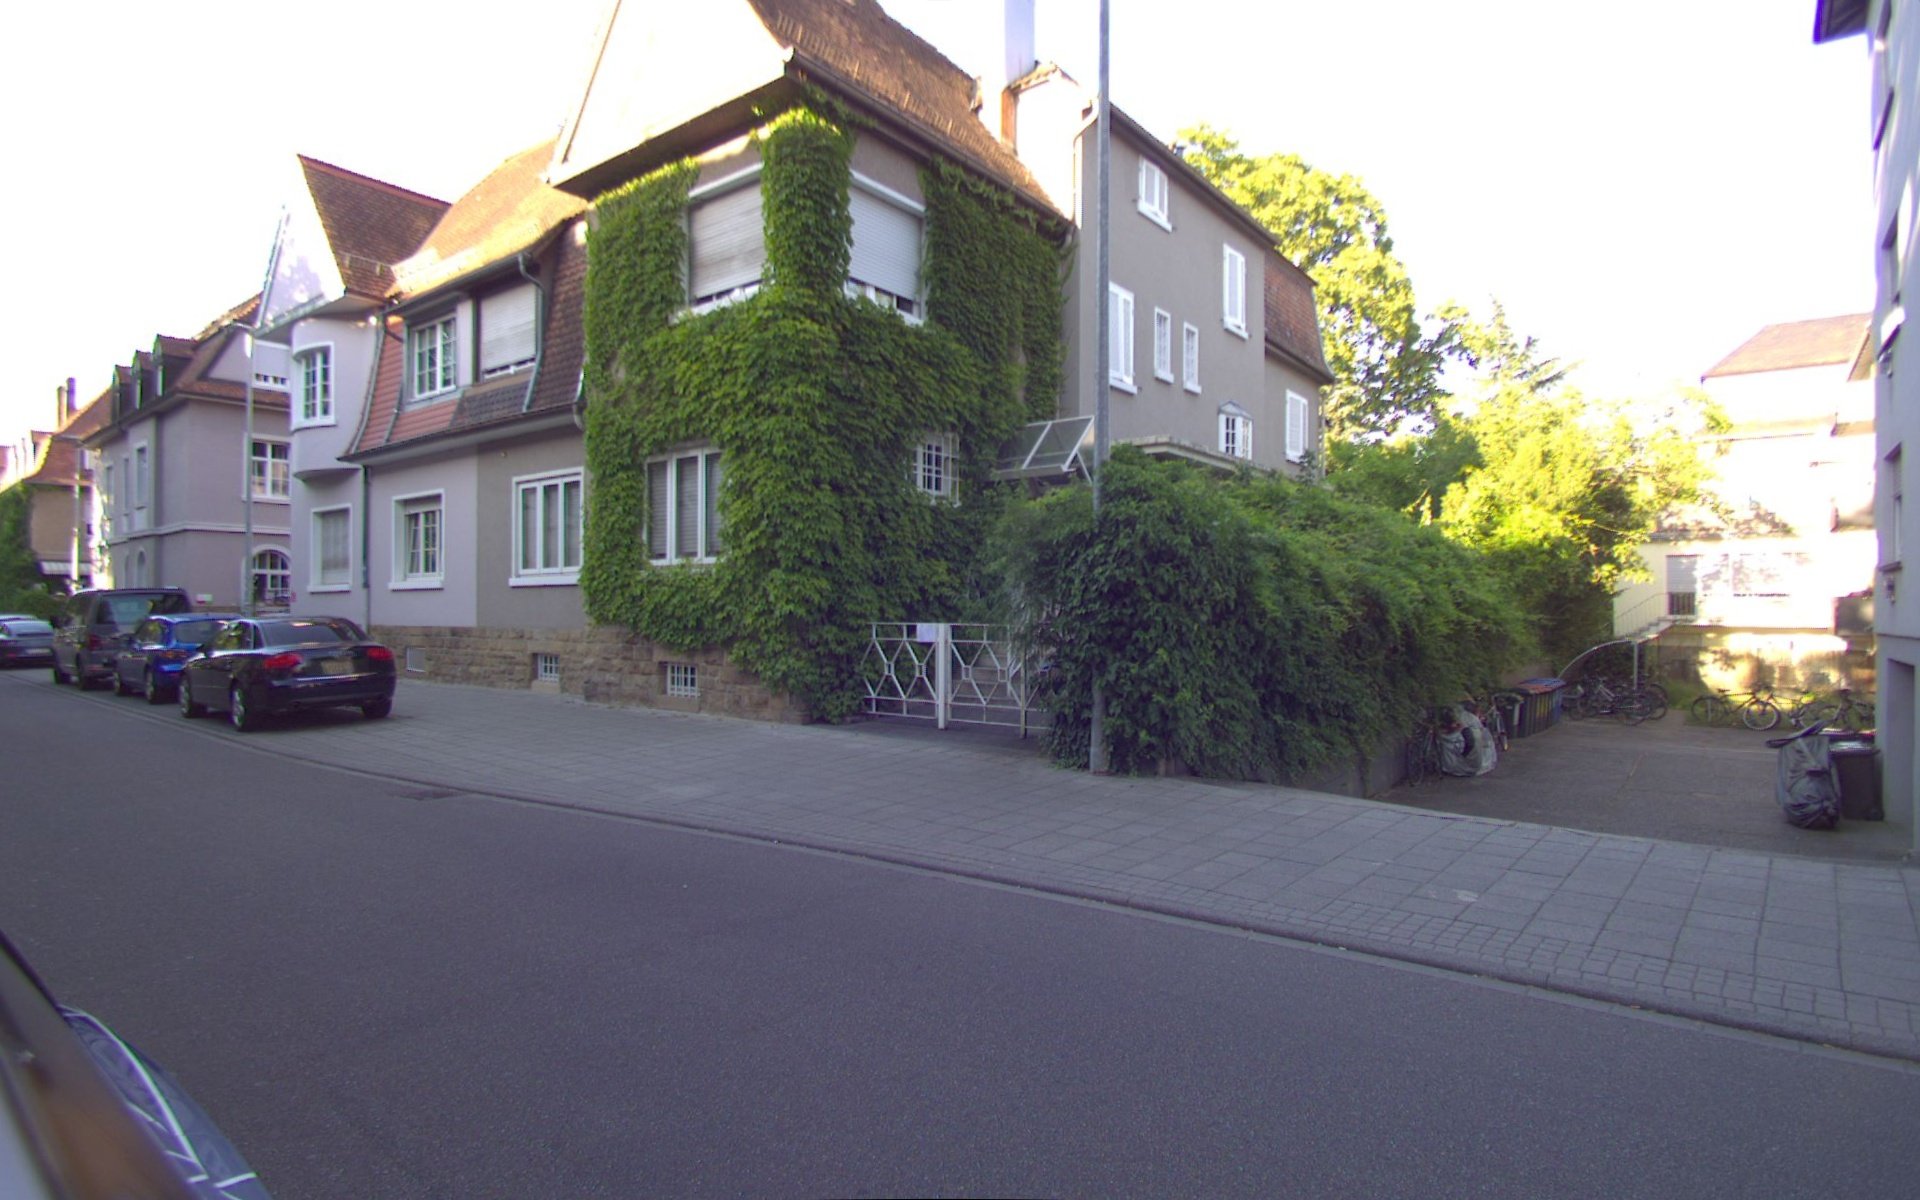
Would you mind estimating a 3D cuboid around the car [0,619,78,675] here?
[{"bbox_3d":[-26.160,1.261,28.300,4.063,1.394,1.906,-1,1,44],"label":"car"}]

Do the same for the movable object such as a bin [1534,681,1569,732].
[{"bbox_3d":[13.648,2.436,23.353,0.611,1.123,0.792,-1,-4,37],"label":"movable object such as a bin"}]

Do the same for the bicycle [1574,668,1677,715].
[{"bbox_3d":[18.615,2.537,28.340,2.338,1.186,0.685,-1,-4,42],"label":"bicycle"}]

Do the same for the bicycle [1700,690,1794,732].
[{"bbox_3d":[18.893,2.651,24.306,1.754,0.886,0.558,-1,-4,42],"label":"bicycle"}]

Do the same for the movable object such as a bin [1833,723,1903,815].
[{"bbox_3d":[12.298,2.266,13.732,0.611,1.123,0.792,-1,-4,37],"label":"movable object such as a bin"}]

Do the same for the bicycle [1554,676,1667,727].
[{"bbox_3d":[16.239,2.509,25.307,2.294,1.142,0.685,-1,-4,42],"label":"bicycle"}]

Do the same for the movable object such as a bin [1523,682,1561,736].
[{"bbox_3d":[12.701,2.368,22.079,0.611,1.123,0.792,-1,-4,37],"label":"movable object such as a bin"}]

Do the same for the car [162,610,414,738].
[{"bbox_3d":[-9.419,0.907,14.044,4.426,1.457,1.783,-1,1,41],"label":"car"}]

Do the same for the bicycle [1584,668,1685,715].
[{"bbox_3d":[19.199,2.585,28.835,2.338,1.186,0.685,-1,-4,42],"label":"bicycle"}]

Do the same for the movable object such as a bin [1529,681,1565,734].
[{"bbox_3d":[13.177,2.403,22.721,0.611,1.123,0.792,-1,-4,37],"label":"movable object such as a bin"}]

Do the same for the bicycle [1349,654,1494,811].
[{"bbox_3d":[6.824,1.776,14.757,0.971,1.907,4.138,-1,-2,38],"label":"bicycle"}]

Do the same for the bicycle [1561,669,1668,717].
[{"bbox_3d":[17.506,2.463,27.120,2.338,1.142,0.685,-1,-4,42],"label":"bicycle"}]

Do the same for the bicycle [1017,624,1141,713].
[{"bbox_3d":[1.701,0.916,14.190,0.476,1.111,2.172,-1,-1,45],"label":"bicycle"}]

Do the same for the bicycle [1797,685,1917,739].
[{"bbox_3d":[20.370,2.526,23.031,2.005,1.080,0.558,-1,-4,42],"label":"bicycle"}]

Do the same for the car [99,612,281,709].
[{"bbox_3d":[-13.637,0.977,17.849,4.060,1.457,1.745,-1,1,41],"label":"car"}]

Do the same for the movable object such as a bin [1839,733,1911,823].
[{"bbox_3d":[11.716,2.262,12.971,0.611,1.045,0.532,-1,-4,37],"label":"movable object such as a bin"}]

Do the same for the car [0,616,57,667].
[{"bbox_3d":[-30.174,1.291,32.033,4.061,1.478,1.907,-1,1,42],"label":"car"}]

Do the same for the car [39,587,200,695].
[{"bbox_3d":[-17.526,0.783,21.018,4.610,1.990,1.819,-1,1,41],"label":"car"}]

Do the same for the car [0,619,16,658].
[{"bbox_3d":[-36.326,1.435,37.511,3.676,1.372,1.641,-1,1,42],"label":"car"}]

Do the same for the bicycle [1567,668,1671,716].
[{"bbox_3d":[18.057,2.494,27.772,2.338,1.186,0.685,-1,-4,42],"label":"bicycle"}]

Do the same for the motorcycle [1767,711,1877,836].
[{"bbox_3d":[10.707,2.107,12.630,0.742,1.305,1.565,-1,-2,30],"label":"motorcycle"}]
